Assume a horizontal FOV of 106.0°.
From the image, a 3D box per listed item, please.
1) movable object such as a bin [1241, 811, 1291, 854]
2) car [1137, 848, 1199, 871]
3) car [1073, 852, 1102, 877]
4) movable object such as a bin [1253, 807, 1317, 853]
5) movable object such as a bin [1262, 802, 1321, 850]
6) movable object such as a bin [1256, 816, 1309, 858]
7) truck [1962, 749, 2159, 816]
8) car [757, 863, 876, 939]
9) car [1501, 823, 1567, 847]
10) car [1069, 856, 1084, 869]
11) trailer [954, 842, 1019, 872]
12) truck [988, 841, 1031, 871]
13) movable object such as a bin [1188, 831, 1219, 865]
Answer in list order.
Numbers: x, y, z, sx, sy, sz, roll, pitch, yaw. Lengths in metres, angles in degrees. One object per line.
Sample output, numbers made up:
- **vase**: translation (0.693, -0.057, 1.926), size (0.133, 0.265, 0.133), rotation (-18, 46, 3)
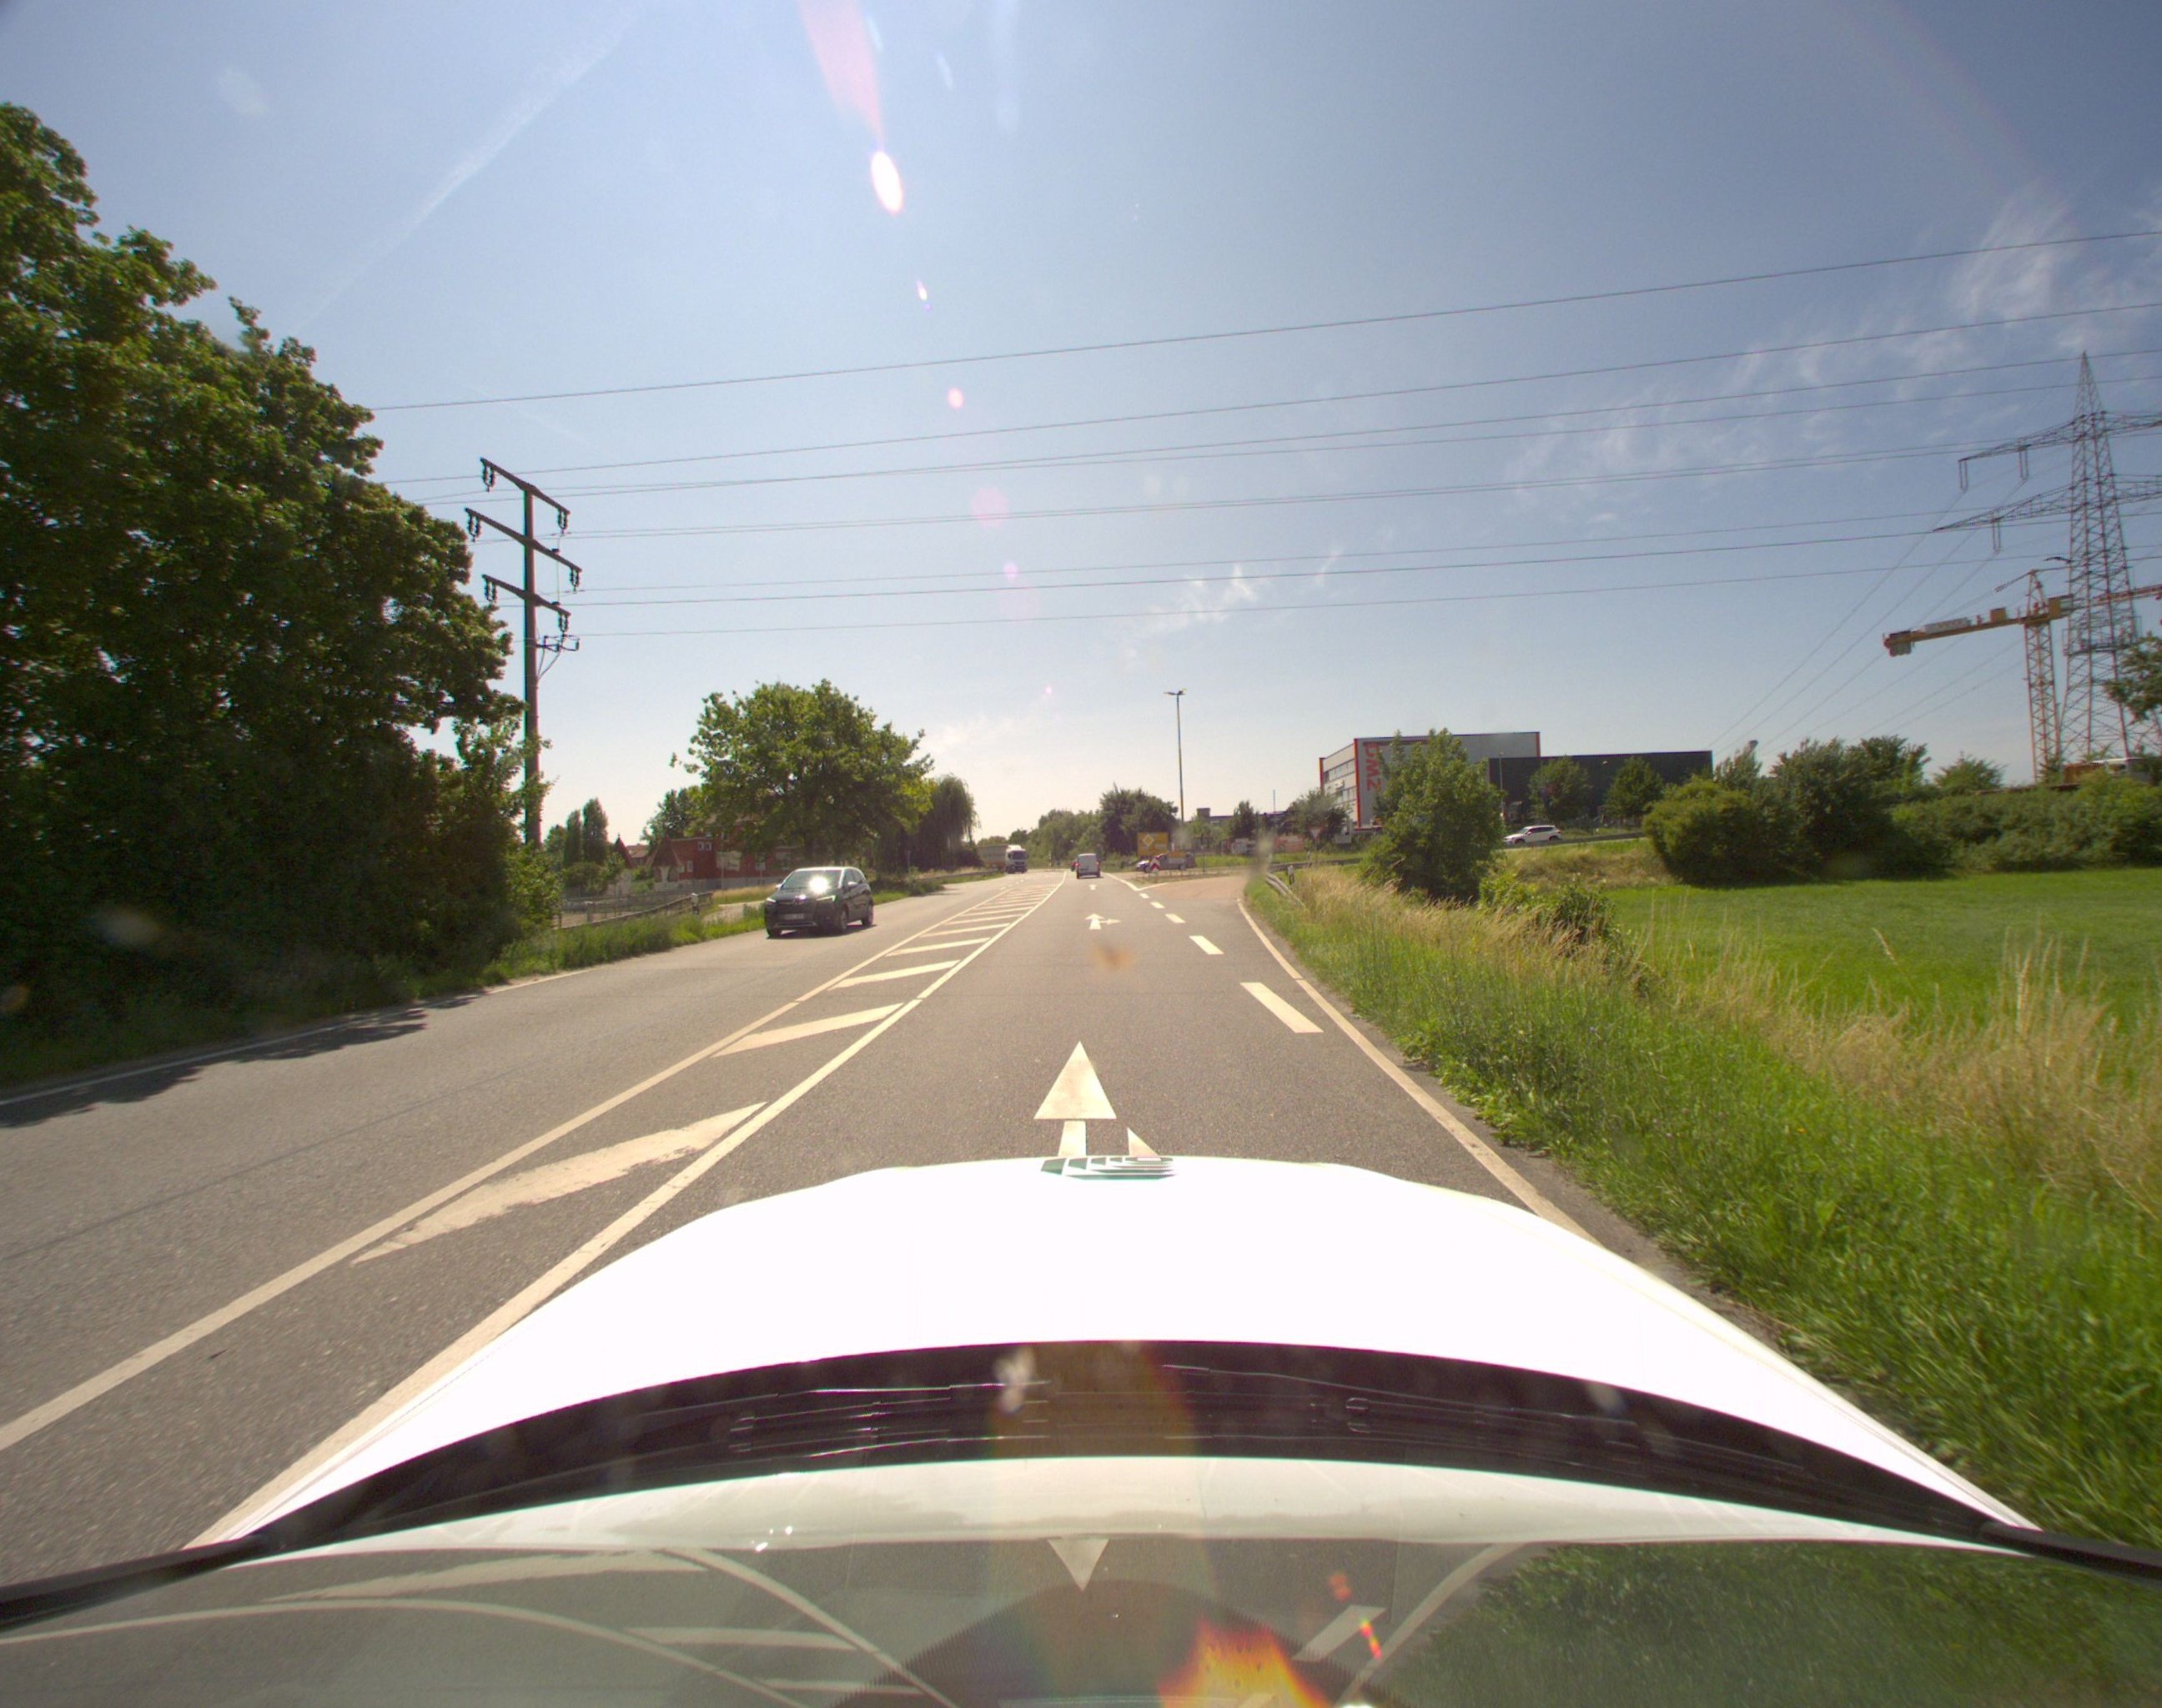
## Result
- **movable object such as a bin**: translation (23.864, -2.729, 105.229), size (5.694, 5.270, 3.223), rotation (-1, -2, 2)
- **car**: translation (6.654, 0.392, 62.779), size (4.497, 1.508, 1.914), rotation (-3, 0, 0)
- **car**: translation (0.469, 0.781, 60.434), size (1.899, 1.732, 3.818), rotation (-2, -1, -3)
- **movable object such as a bin**: translation (24.035, -2.769, 96.271), size (6.565, 5.148, 3.808), rotation (-1, -2, 2)
- **movable object such as a bin**: translation (23.821, -3.152, 92.379), size (5.895, 5.106, 3.110), rotation (-1, -2, 2)
- **movable object such as a bin**: translation (21.683, -1.832, 87.831), size (5.065, 4.275, 2.835), rotation (-1, -2, 2)
- **truck**: translation (69.118, -5.010, 57.633), size (9.635, 4.183, 3.316), rotation (-1, -2, 1)
- **car**: translation (-6.260, 1.044, 19.718), size (1.728, 1.590, 3.953), rotation (-1, -1, -3)
- **car**: translation (35.392, -1.497, 63.688), size (4.069, 1.621, 1.760), rotation (-4, 1, 2)
- **car**: translation (-0.547, 1.050, 103.591), size (1.800, 1.556, 3.999), rotation (-2, 1, -1)
- **trailer**: translation (-13.848, 0.417, 118.260), size (2.812, 4.056, 13.348), rotation (-1, 0, -38)
- **truck**: translation (-9.986, 0.335, 113.206), size (2.812, 4.056, 6.678), rotation (-1, 0, -37)
- **movable object such as a bin**: translation (12.468, -0.568, 83.219), size (2.316, 3.250, 5.099), rotation (-1, -2, -1)
